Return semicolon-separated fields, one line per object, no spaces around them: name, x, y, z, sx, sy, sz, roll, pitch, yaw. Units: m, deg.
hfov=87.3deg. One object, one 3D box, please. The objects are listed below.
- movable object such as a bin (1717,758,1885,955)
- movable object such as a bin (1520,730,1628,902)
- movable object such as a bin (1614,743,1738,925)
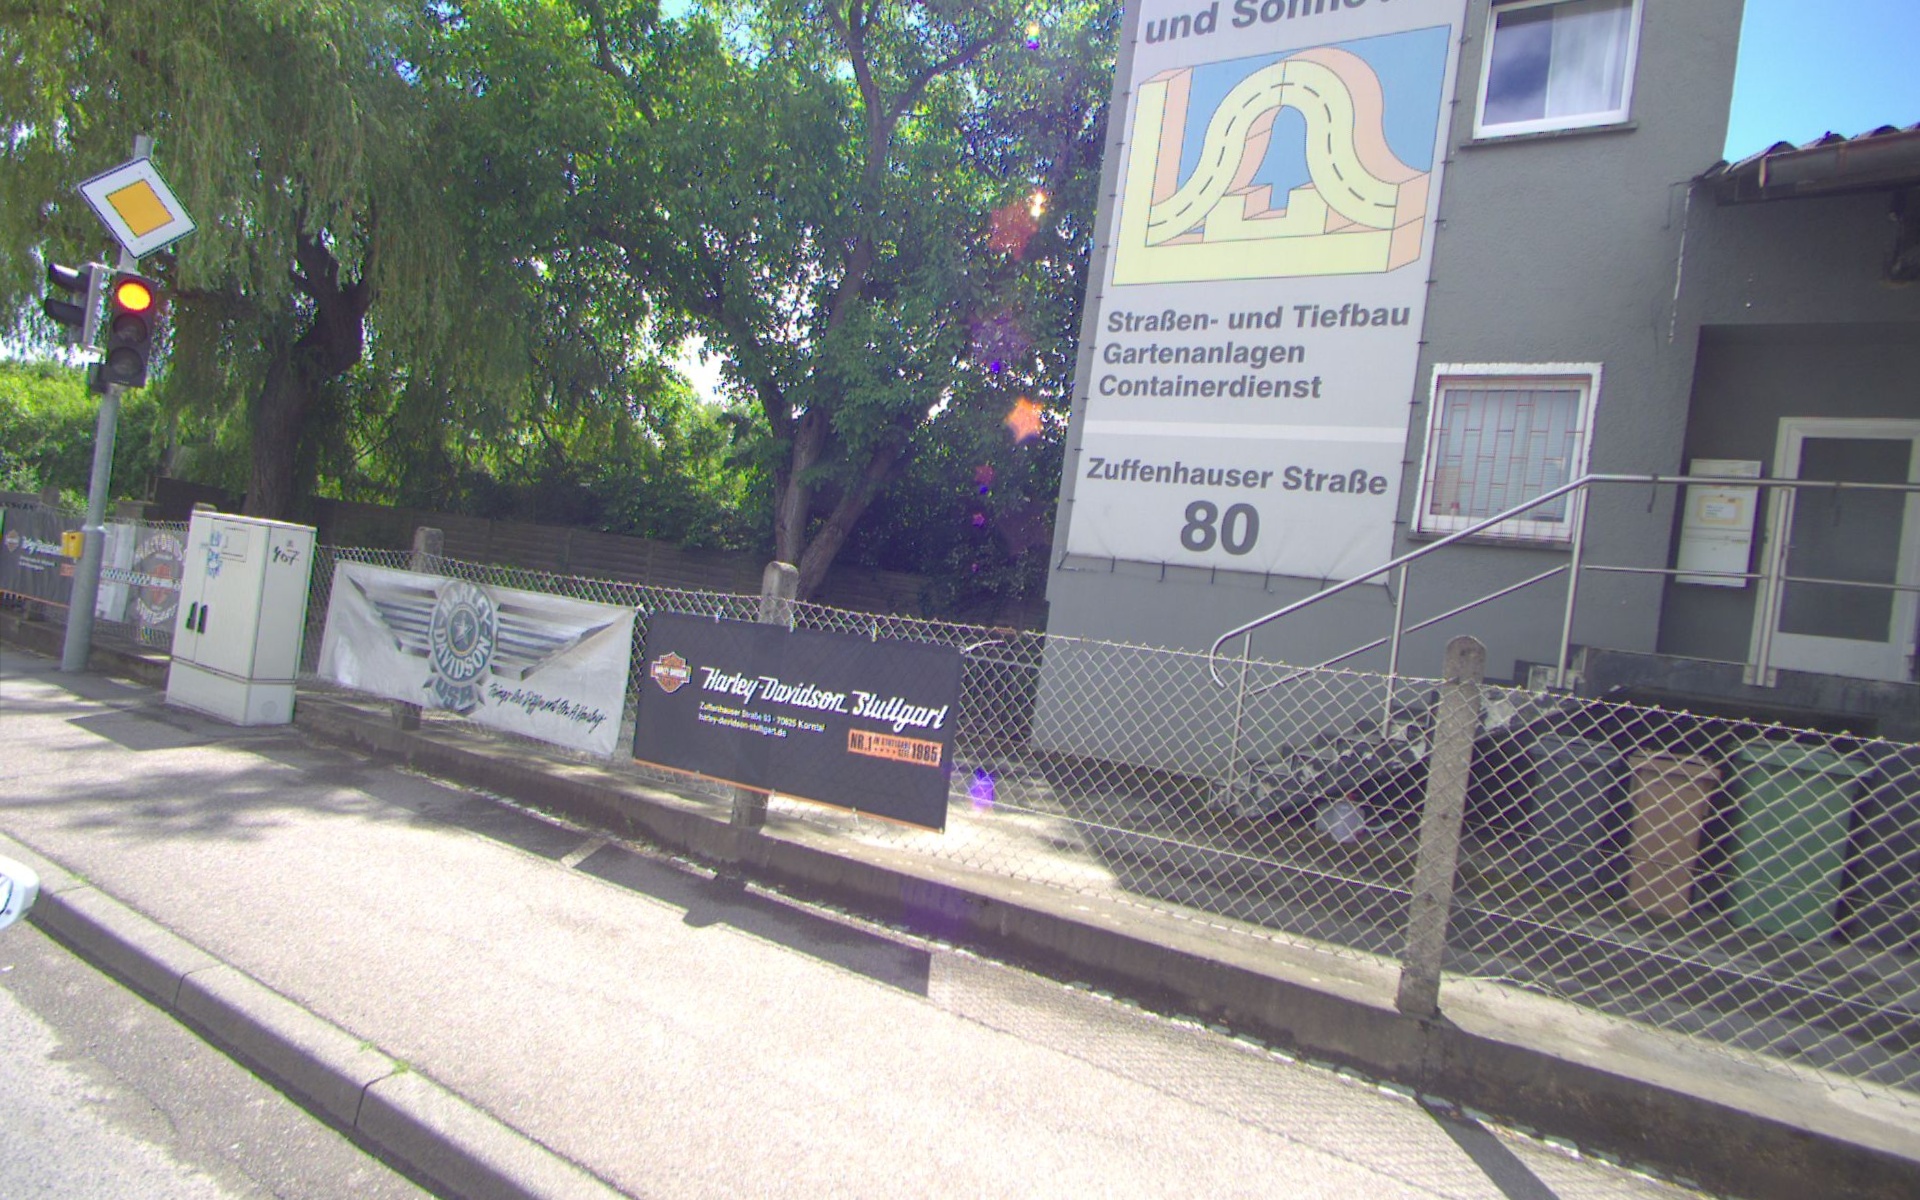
movable object such as a bin;4.761;1.425;5.730;0.574;0.941;0.482;6;-1;30
movable object such as a bin;3.820;1.322;6.284;0.466;0.941;0.482;7;-1;30
movable object such as a bin;4.265;1.371;6.021;0.466;0.941;0.482;7;-1;30
